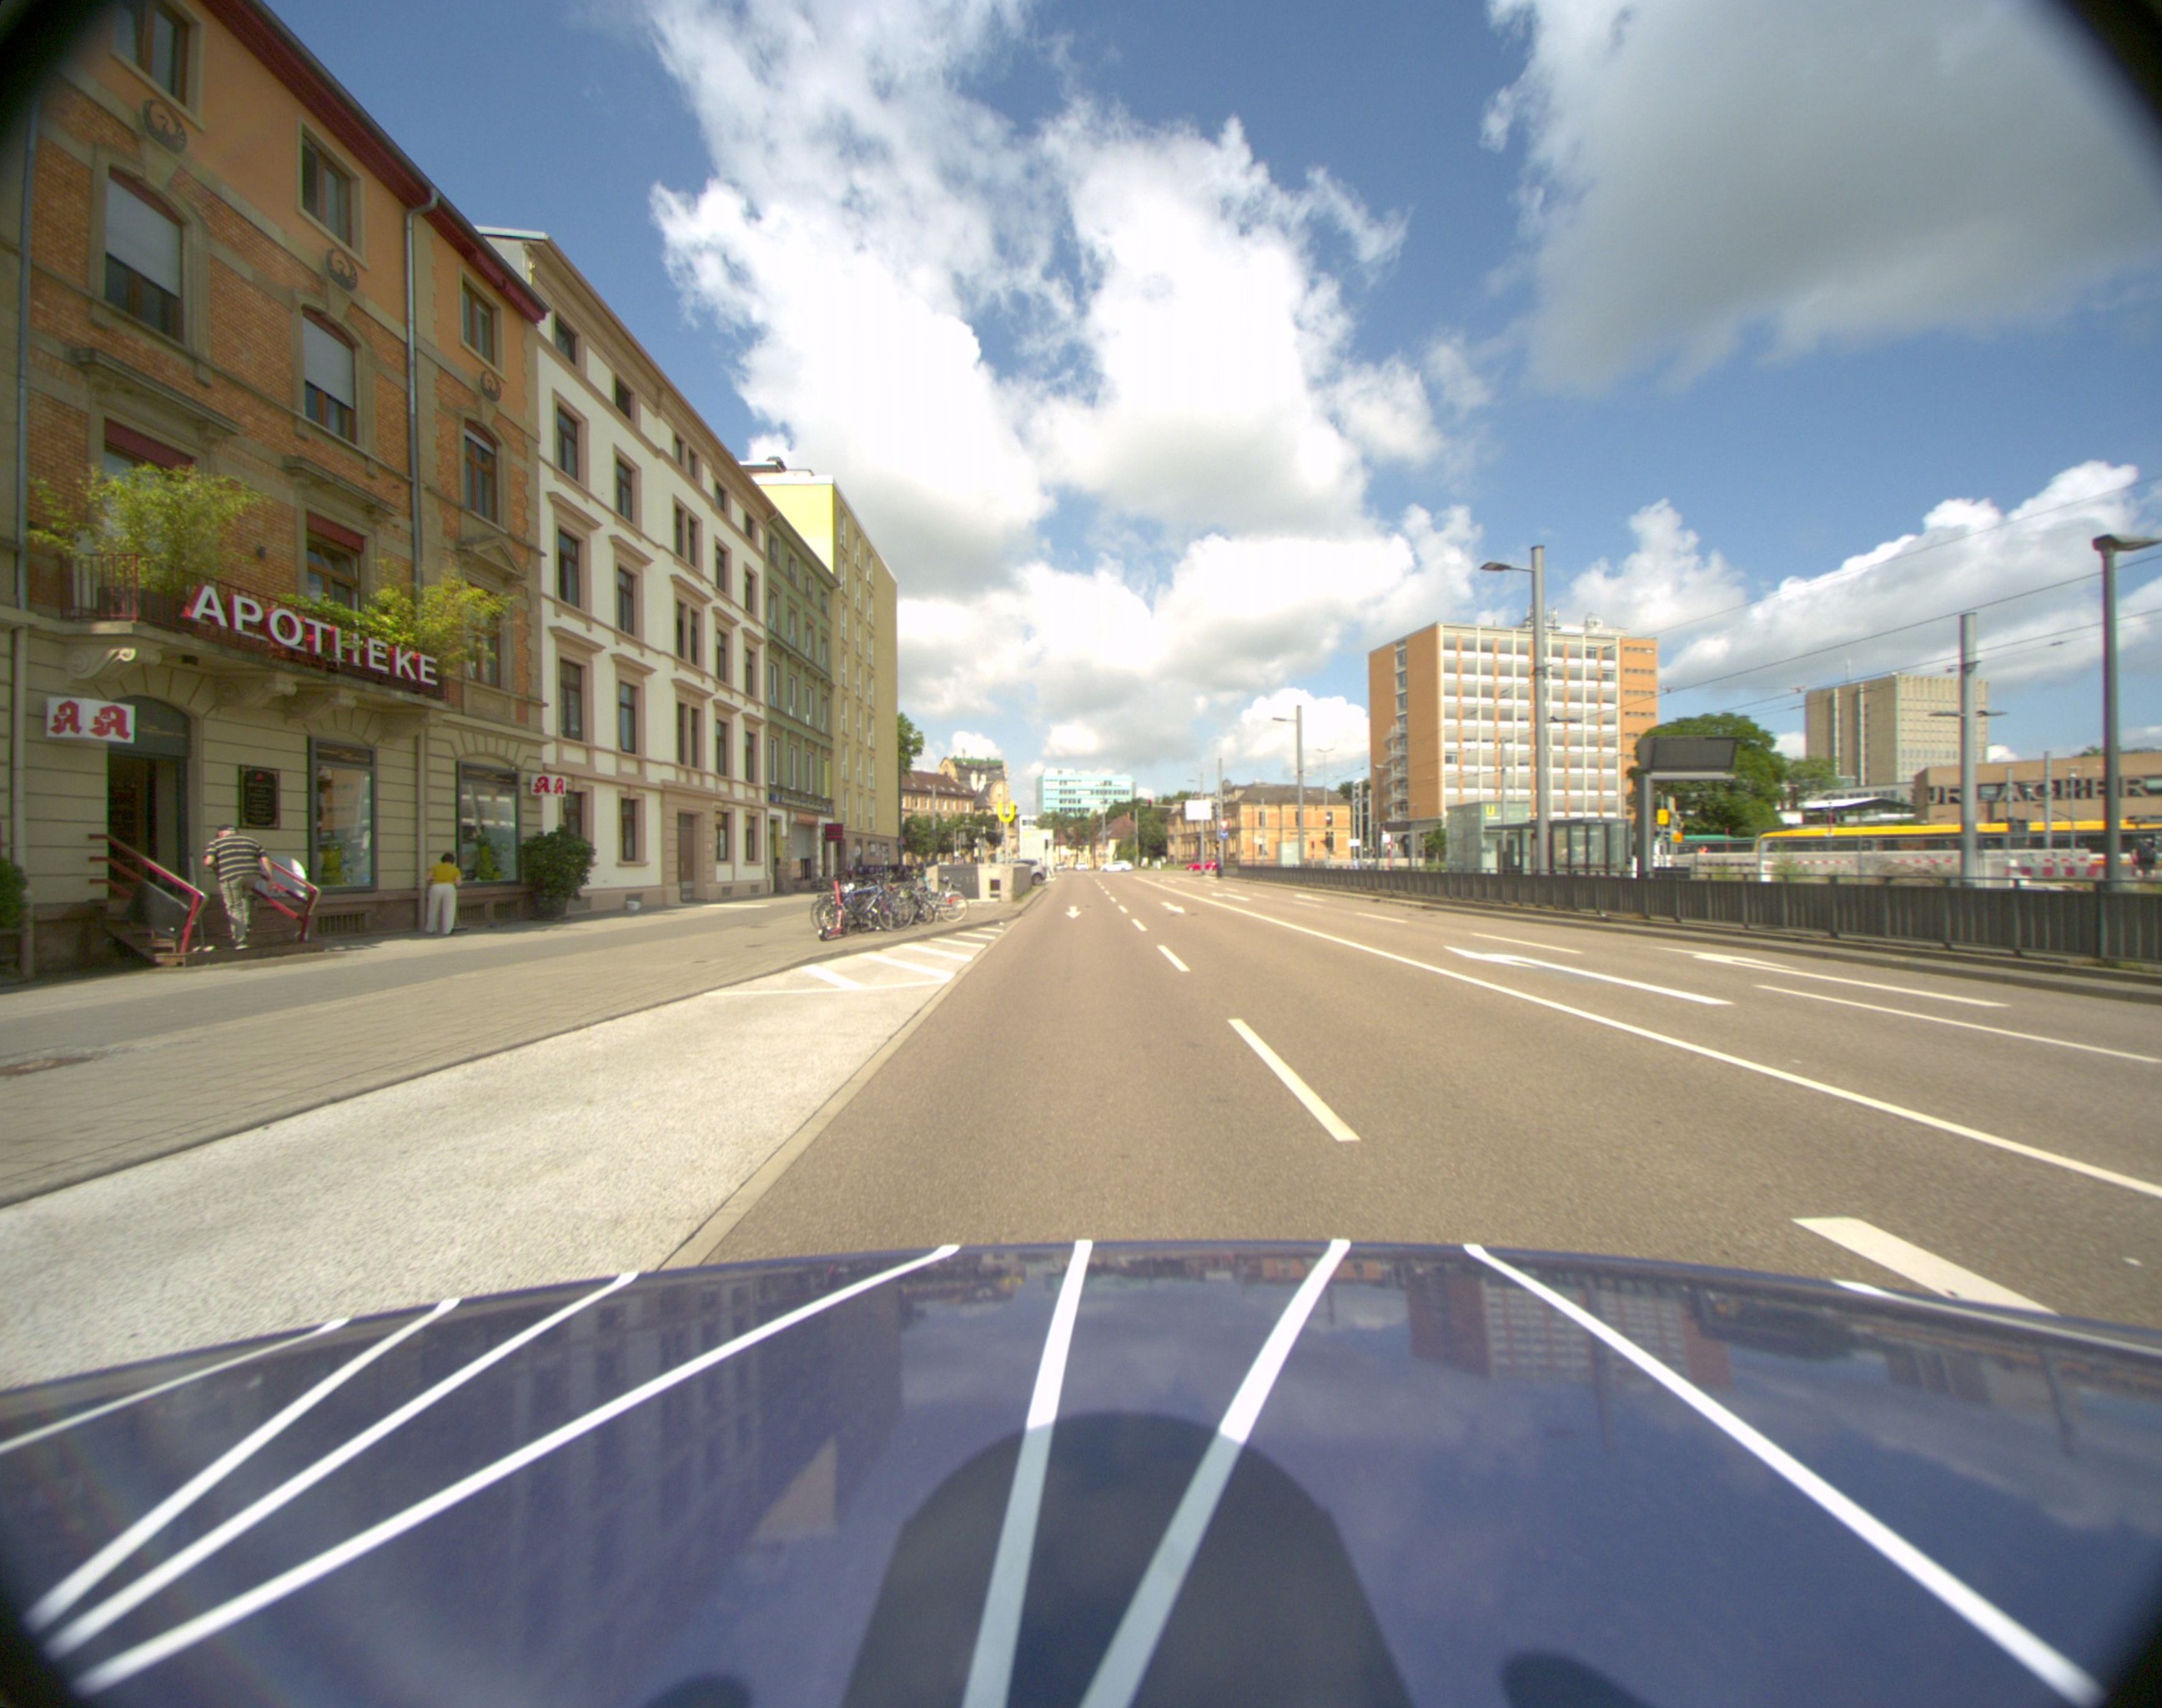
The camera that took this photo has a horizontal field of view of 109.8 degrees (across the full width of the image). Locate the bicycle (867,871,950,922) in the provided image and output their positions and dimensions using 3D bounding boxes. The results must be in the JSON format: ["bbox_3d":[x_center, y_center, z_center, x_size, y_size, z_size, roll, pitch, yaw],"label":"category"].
[{"bbox_3d":[-4.233,1.046,18.707,1.929,1.230,0.441,-1,-2,2],"label":"bicycle"}]

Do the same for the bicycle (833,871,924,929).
[{"bbox_3d":[-4.483,1.011,16.926,1.931,1.230,0.441,0,-2,-11],"label":"bicycle"}]

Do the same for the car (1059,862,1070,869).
[{"bbox_3d":[-4.722,3.362,217.595,2.001,2.001,3.996,0,-2,-16],"label":"car"}]

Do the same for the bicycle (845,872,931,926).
[{"bbox_3d":[-4.527,1.045,17.908,1.931,1.230,0.441,0,-2,-13],"label":"bicycle"}]

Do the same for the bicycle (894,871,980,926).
[{"bbox_3d":[-3.333,1.017,17.670,1.931,1.230,0.441,0,-2,-12],"label":"bicycle"}]

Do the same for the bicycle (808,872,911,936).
[{"bbox_3d":[-4.429,0.987,15.255,1.930,1.230,0.441,-1,-2,-8],"label":"bicycle"}]

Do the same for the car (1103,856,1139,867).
[{"bbox_3d":[5.647,1.099,106.519,4.665,1.420,1.766,-2,-2,17],"label":"car"}]

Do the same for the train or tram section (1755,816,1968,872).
[{"bbox_3d":[56.757,-0.573,55.850,10.580,3.459,3.332,-3,-3,44],"label":"train or tram section"}]

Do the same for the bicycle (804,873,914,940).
[{"bbox_3d":[-4.254,0.996,14.655,1.985,1.230,0.441,0,-2,-12],"label":"bicycle"}]

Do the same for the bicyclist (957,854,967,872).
[{"bbox_3d":[-9.790,0.725,62.489,0.655,1.428,0.743,0,0,0],"label":"bicyclist"}]

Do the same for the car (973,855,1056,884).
[{"bbox_3d":[-3.925,0.897,45.494,4.605,1.637,2.056,-1,0,-43],"label":"car"}]

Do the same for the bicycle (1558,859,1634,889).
[{"bbox_3d":[25.631,0.948,37.952,1.196,1.418,3.693,0,0,-2],"label":"bicycle"}]

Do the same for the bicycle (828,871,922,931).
[{"bbox_3d":[-4.416,1.007,16.390,1.931,1.230,0.441,0,-2,-11],"label":"bicycle"}]

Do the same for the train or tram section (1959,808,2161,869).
[{"bbox_3d":[64.487,-0.914,48.577,10.580,3.459,3.332,-3,-3,44],"label":"train or tram section"}]

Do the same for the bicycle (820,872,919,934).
[{"bbox_3d":[-4.381,1.014,15.804,1.930,1.230,0.441,-1,-2,-6],"label":"bicycle"}]

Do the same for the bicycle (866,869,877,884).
[{"bbox_3d":[-13.091,1.428,47.497,0.293,0.917,1.464,-1,-2,-3],"label":"bicycle"}]

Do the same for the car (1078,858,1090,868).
[{"bbox_3d":[0.512,1.629,132.353,1.956,1.586,4.507,-1,-2,-2],"label":"car"}]

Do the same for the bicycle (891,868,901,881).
[{"bbox_3d":[-12.662,1.399,51.934,0.293,0.917,1.464,-1,0,0],"label":"bicycle"}]

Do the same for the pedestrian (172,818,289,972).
[{"bbox_3d":[-12.009,0.577,10.760,0.723,2.086,0.786,-1,-2,0],"label":"pedestrian"}]

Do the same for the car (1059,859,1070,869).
[{"bbox_3d":[-2.990,1.825,135.338,1.838,1.586,4.001,-1,-2,-2],"label":"car"}]

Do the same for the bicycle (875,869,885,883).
[{"bbox_3d":[-13.259,1.449,50.176,0.293,0.917,1.465,-1,-2,0],"label":"bicycle"}]

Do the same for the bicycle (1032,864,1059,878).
[{"bbox_3d":[-2.822,1.354,61.001,2.097,1.099,0.545,-1,-2,7],"label":"bicycle"}]

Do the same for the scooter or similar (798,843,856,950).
[{"bbox_3d":[-4.430,0.710,13.356,0.398,1.776,1.538,0,0,4],"label":"scooter or similar"}]

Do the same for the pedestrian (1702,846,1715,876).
[{"bbox_3d":[38.799,0.429,46.988,0.561,1.783,0.722,0,0,42],"label":"pedestrian"}]

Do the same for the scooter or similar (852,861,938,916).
[{"bbox_3d":[-5.417,1.001,22.189,2.329,1.536,0.698,-1,-2,5],"label":"scooter or similar"}]

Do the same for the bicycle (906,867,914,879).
[{"bbox_3d":[-12.806,1.400,56.987,0.293,0.878,1.464,-1,1,-3],"label":"bicycle"}]

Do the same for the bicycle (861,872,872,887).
[{"bbox_3d":[-13.408,1.615,47.486,0.293,0.917,1.464,-1,-1,-3],"label":"bicycle"}]

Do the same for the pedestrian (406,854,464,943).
[{"bbox_3d":[-12.527,0.858,14.751,0.580,1.687,0.612,-1,-2,0],"label":"pedestrian"}]

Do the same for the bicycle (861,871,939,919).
[{"bbox_3d":[-4.754,1.078,19.948,1.929,1.230,0.441,-1,-2,2],"label":"bicycle"}]

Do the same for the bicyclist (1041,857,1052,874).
[{"bbox_3d":[-2.786,0.936,61.006,0.783,1.327,0.395,-1,-2,6],"label":"bicyclist"}]

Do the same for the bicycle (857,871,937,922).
[{"bbox_3d":[-4.662,1.075,19.271,1.929,1.230,0.441,-1,-2,2],"label":"bicycle"}]

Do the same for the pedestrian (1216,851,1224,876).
[{"bbox_3d":[10.923,0.757,59.757,0.503,2.002,0.515,-1,0,-12],"label":"pedestrian"}]

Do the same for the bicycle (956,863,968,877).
[{"bbox_3d":[-9.771,1.280,62.484,0.663,1.114,2.332,0,0,0],"label":"bicycle"}]

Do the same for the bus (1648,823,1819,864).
[{"bbox_3d":[61.325,-0.920,71.760,12.356,3.599,2.919,-1,0,12],"label":"bus"}]

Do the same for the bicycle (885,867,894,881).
[{"bbox_3d":[-12.633,1.320,50.136,0.293,0.917,1.464,-1,-2,-3],"label":"bicycle"}]

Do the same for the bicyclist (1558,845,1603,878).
[{"bbox_3d":[25.589,0.381,38.942,1.181,1.674,1.684,0,0,-2],"label":"bicyclist"}]

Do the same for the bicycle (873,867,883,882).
[{"bbox_3d":[-12.635,1.295,47.302,0.293,0.917,1.464,-1,-1,-3],"label":"bicycle"}]

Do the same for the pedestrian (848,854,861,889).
[{"bbox_3d":[-13.113,1.040,44.029,0.603,2.001,0.460,-1,-2,0],"label":"pedestrian"}]

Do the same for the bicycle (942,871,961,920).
[{"bbox_3d":[-3.406,1.087,20.029,0.441,1.230,1.930,-1,-2,-8],"label":"bicycle"}]

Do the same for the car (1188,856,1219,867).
[{"bbox_3d":[16.604,1.020,102.977,4.057,1.458,1.649,-1,-2,14],"label":"car"}]
